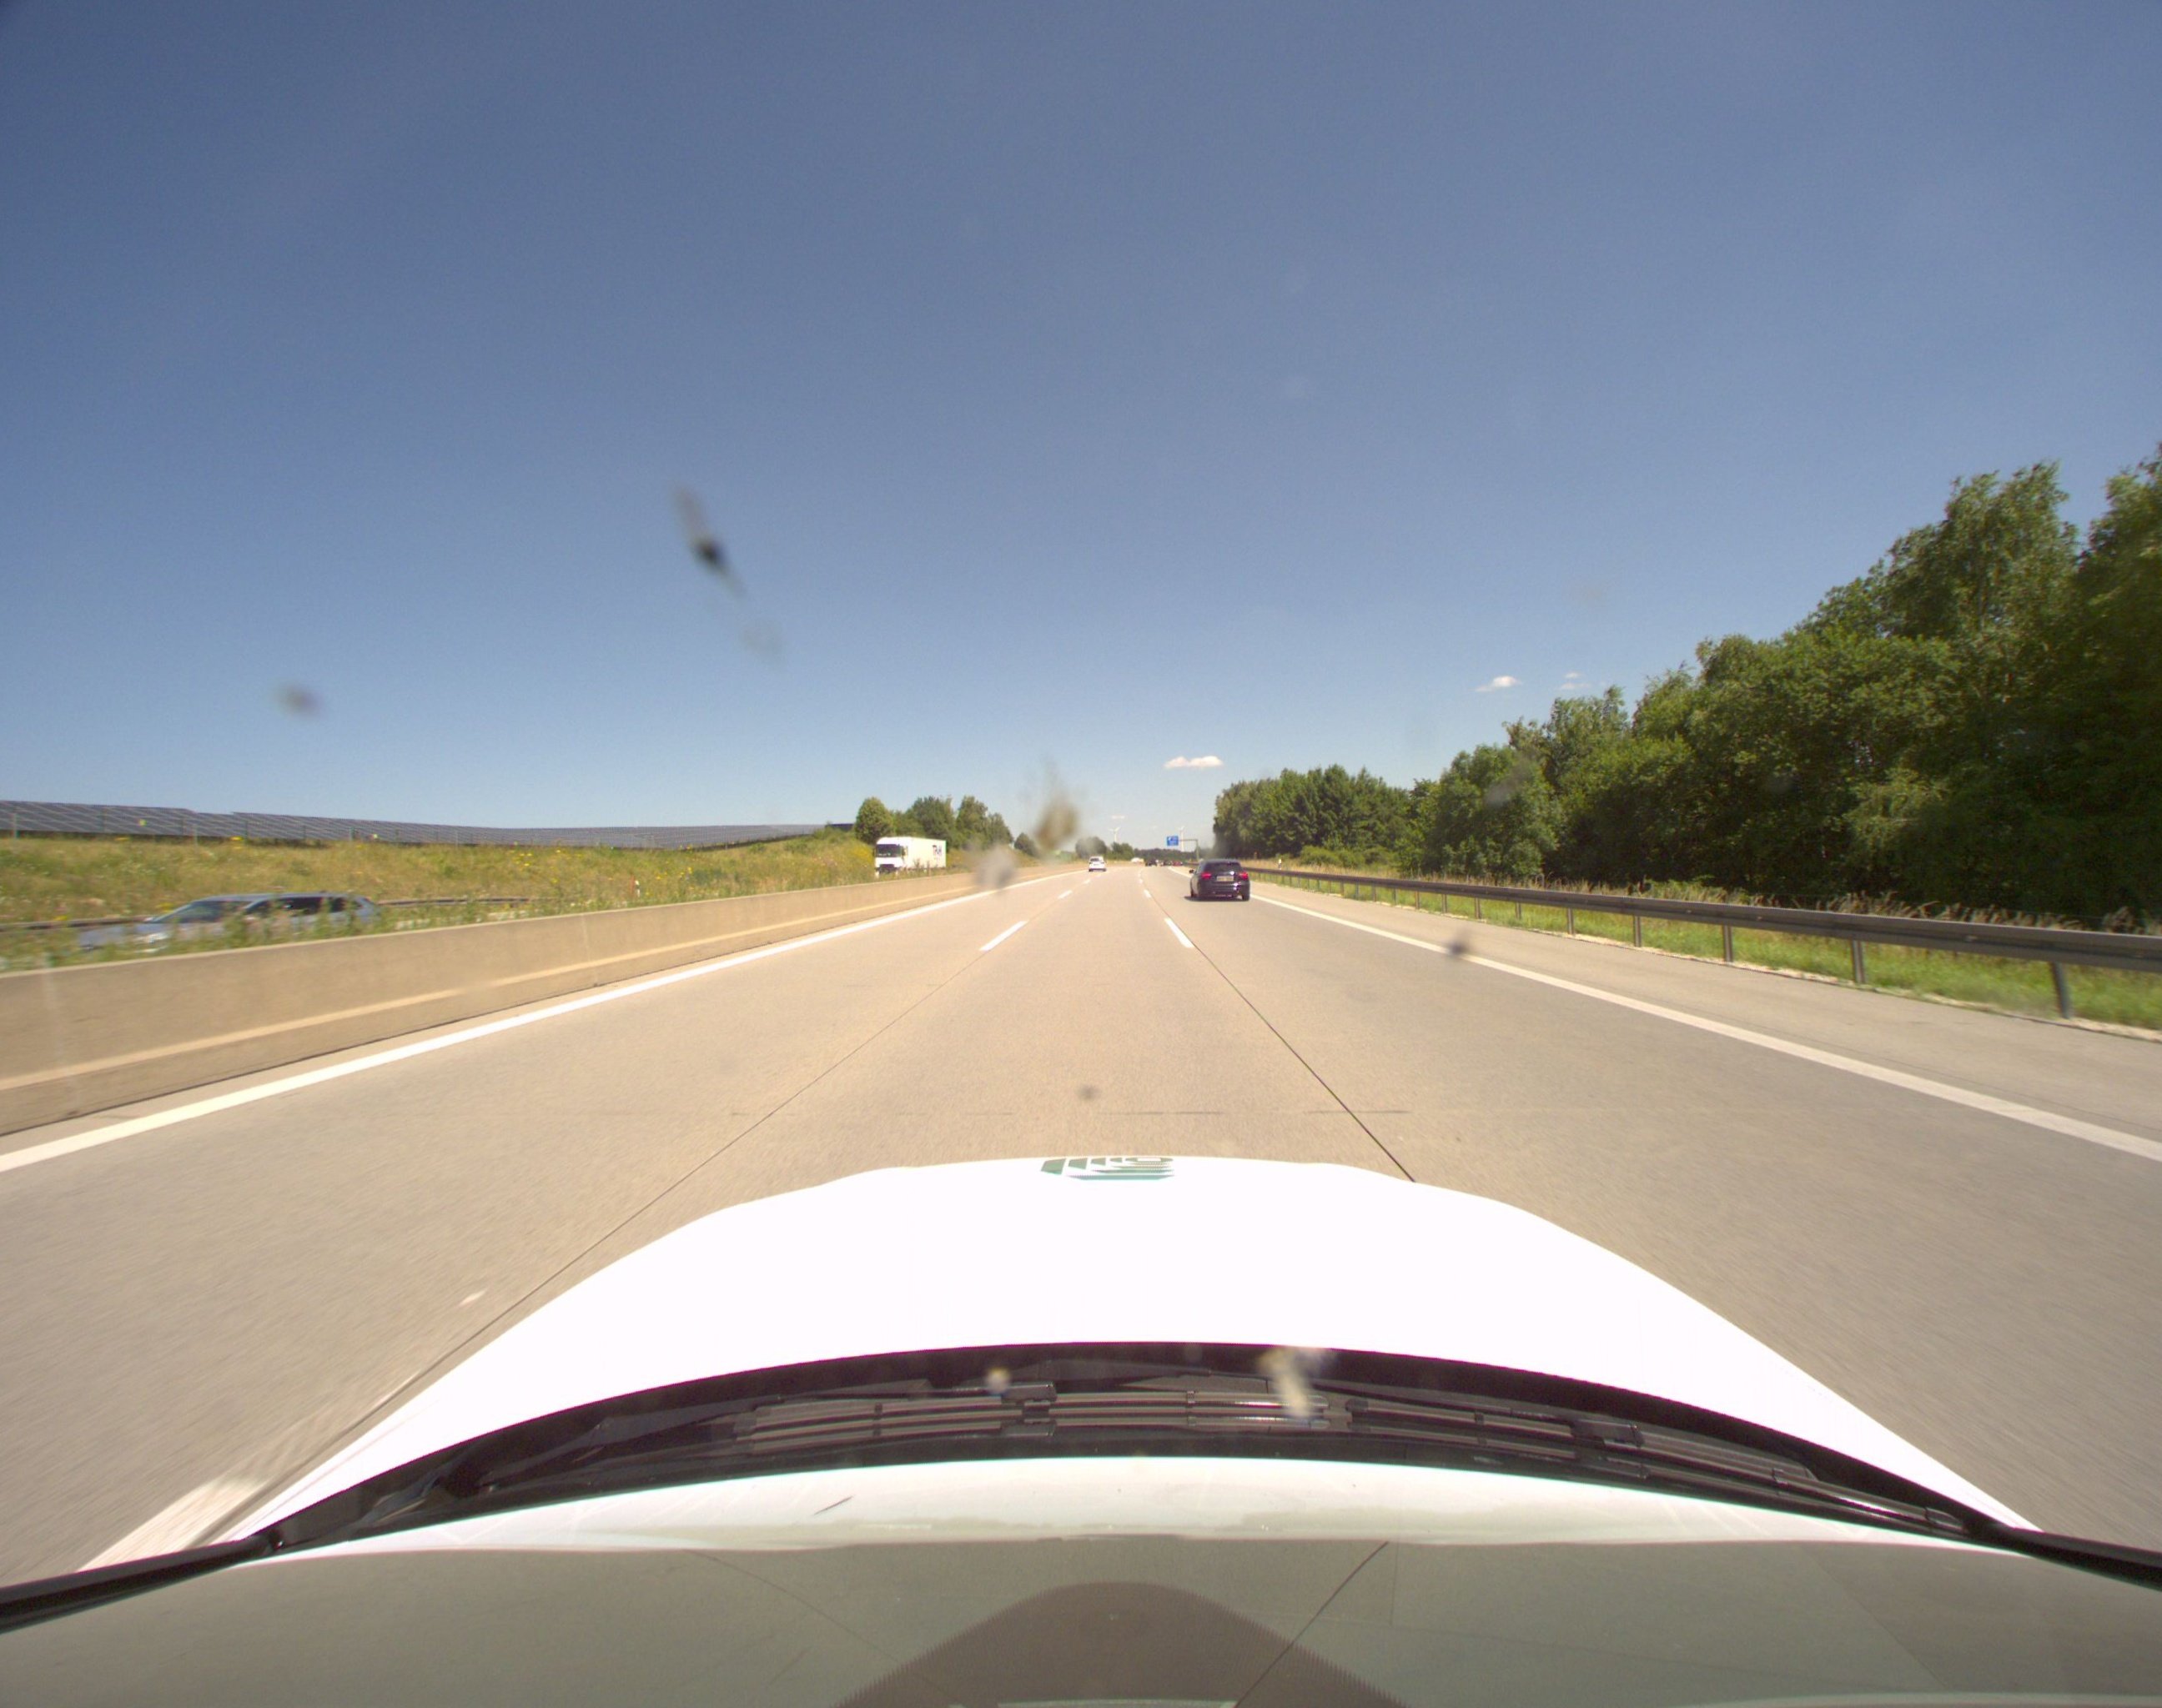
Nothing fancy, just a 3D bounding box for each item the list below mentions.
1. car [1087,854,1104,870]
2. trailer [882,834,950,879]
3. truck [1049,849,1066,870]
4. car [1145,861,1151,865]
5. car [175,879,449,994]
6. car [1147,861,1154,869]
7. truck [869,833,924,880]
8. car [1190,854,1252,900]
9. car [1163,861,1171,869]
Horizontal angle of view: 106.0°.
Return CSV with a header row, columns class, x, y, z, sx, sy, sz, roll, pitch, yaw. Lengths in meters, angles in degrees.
class,x,y,z,sx,sy,sz,roll,pitch,yaw
car,1.741,0.944,94.733,1.838,1.708,6.037,-1,-1,1
trailer,-16.376,0.279,82.178,2.992,4.060,14.191,-2,0,4
truck,-5.199,1.240,183.426,3.075,4.662,6.274,-1,-1,5
car,20.737,2.849,252.128,1.650,1.196,3.960,1,0,0
car,-16.250,1.639,17.558,1.986,2.013,4.002,-2,0,2
car,17.797,2.780,208.832,1.819,1.937,3.813,-2,0,4
truck,-16.853,0.259,74.921,2.978,4.060,6.876,-2,0,4
car,4.943,0.773,29.187,1.901,1.492,4.199,-1,0,6
car,20.570,2.546,194.995,1.818,1.907,4.005,-1,0,5
